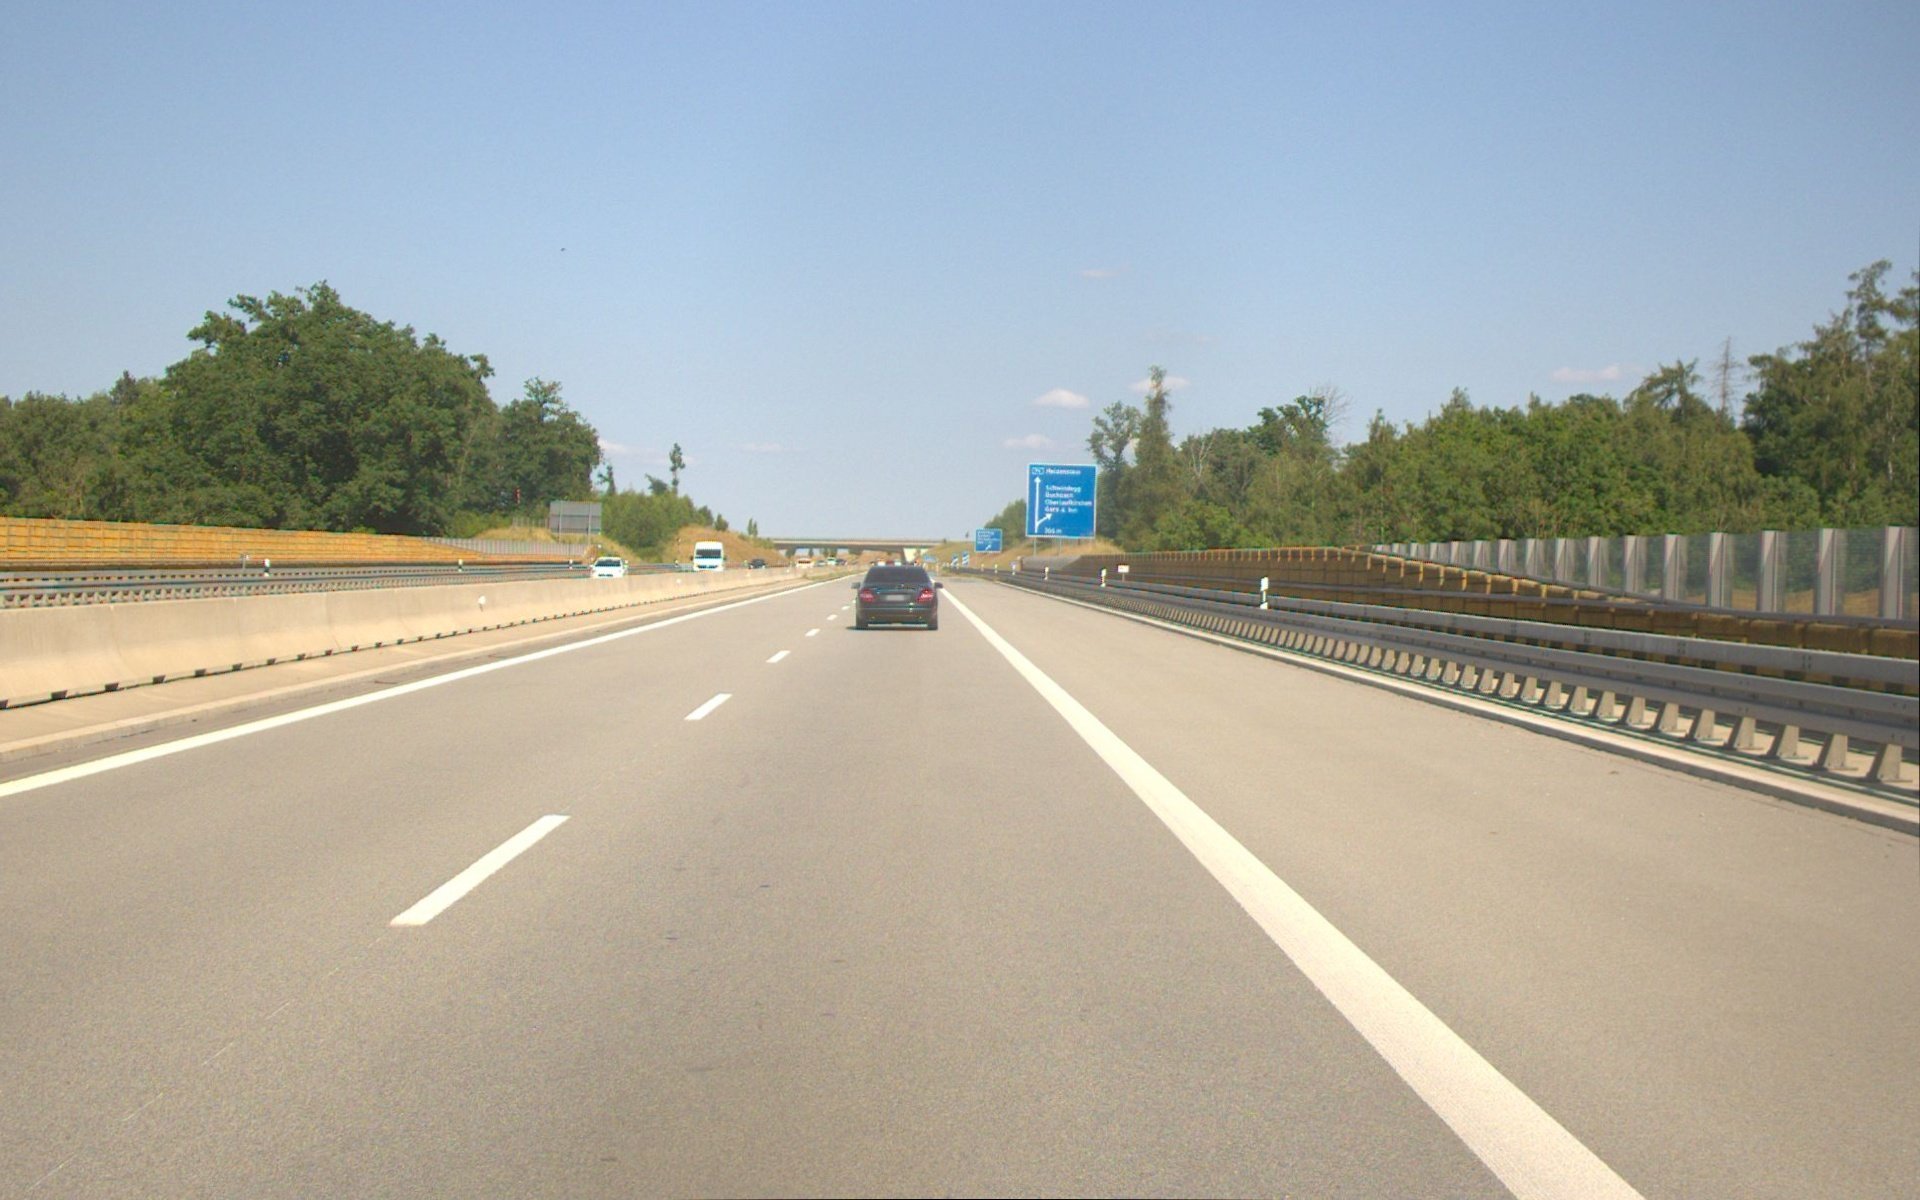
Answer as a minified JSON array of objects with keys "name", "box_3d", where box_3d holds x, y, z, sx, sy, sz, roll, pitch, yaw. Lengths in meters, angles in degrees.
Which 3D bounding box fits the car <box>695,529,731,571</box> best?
[{"name":"car","box_3d":[-16.397,-3.320,228.410,2.023,2.661,6.488,1,1,-2]}]

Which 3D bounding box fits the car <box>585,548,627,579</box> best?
[{"name":"car","box_3d":[-17.987,-1.848,174.764,1.647,1.503,4.332,1,1,0]}]

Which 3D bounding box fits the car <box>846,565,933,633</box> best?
[{"name":"car","box_3d":[-1.495,-0.045,74.260,1.790,1.369,3.917,1,1,0]}]
